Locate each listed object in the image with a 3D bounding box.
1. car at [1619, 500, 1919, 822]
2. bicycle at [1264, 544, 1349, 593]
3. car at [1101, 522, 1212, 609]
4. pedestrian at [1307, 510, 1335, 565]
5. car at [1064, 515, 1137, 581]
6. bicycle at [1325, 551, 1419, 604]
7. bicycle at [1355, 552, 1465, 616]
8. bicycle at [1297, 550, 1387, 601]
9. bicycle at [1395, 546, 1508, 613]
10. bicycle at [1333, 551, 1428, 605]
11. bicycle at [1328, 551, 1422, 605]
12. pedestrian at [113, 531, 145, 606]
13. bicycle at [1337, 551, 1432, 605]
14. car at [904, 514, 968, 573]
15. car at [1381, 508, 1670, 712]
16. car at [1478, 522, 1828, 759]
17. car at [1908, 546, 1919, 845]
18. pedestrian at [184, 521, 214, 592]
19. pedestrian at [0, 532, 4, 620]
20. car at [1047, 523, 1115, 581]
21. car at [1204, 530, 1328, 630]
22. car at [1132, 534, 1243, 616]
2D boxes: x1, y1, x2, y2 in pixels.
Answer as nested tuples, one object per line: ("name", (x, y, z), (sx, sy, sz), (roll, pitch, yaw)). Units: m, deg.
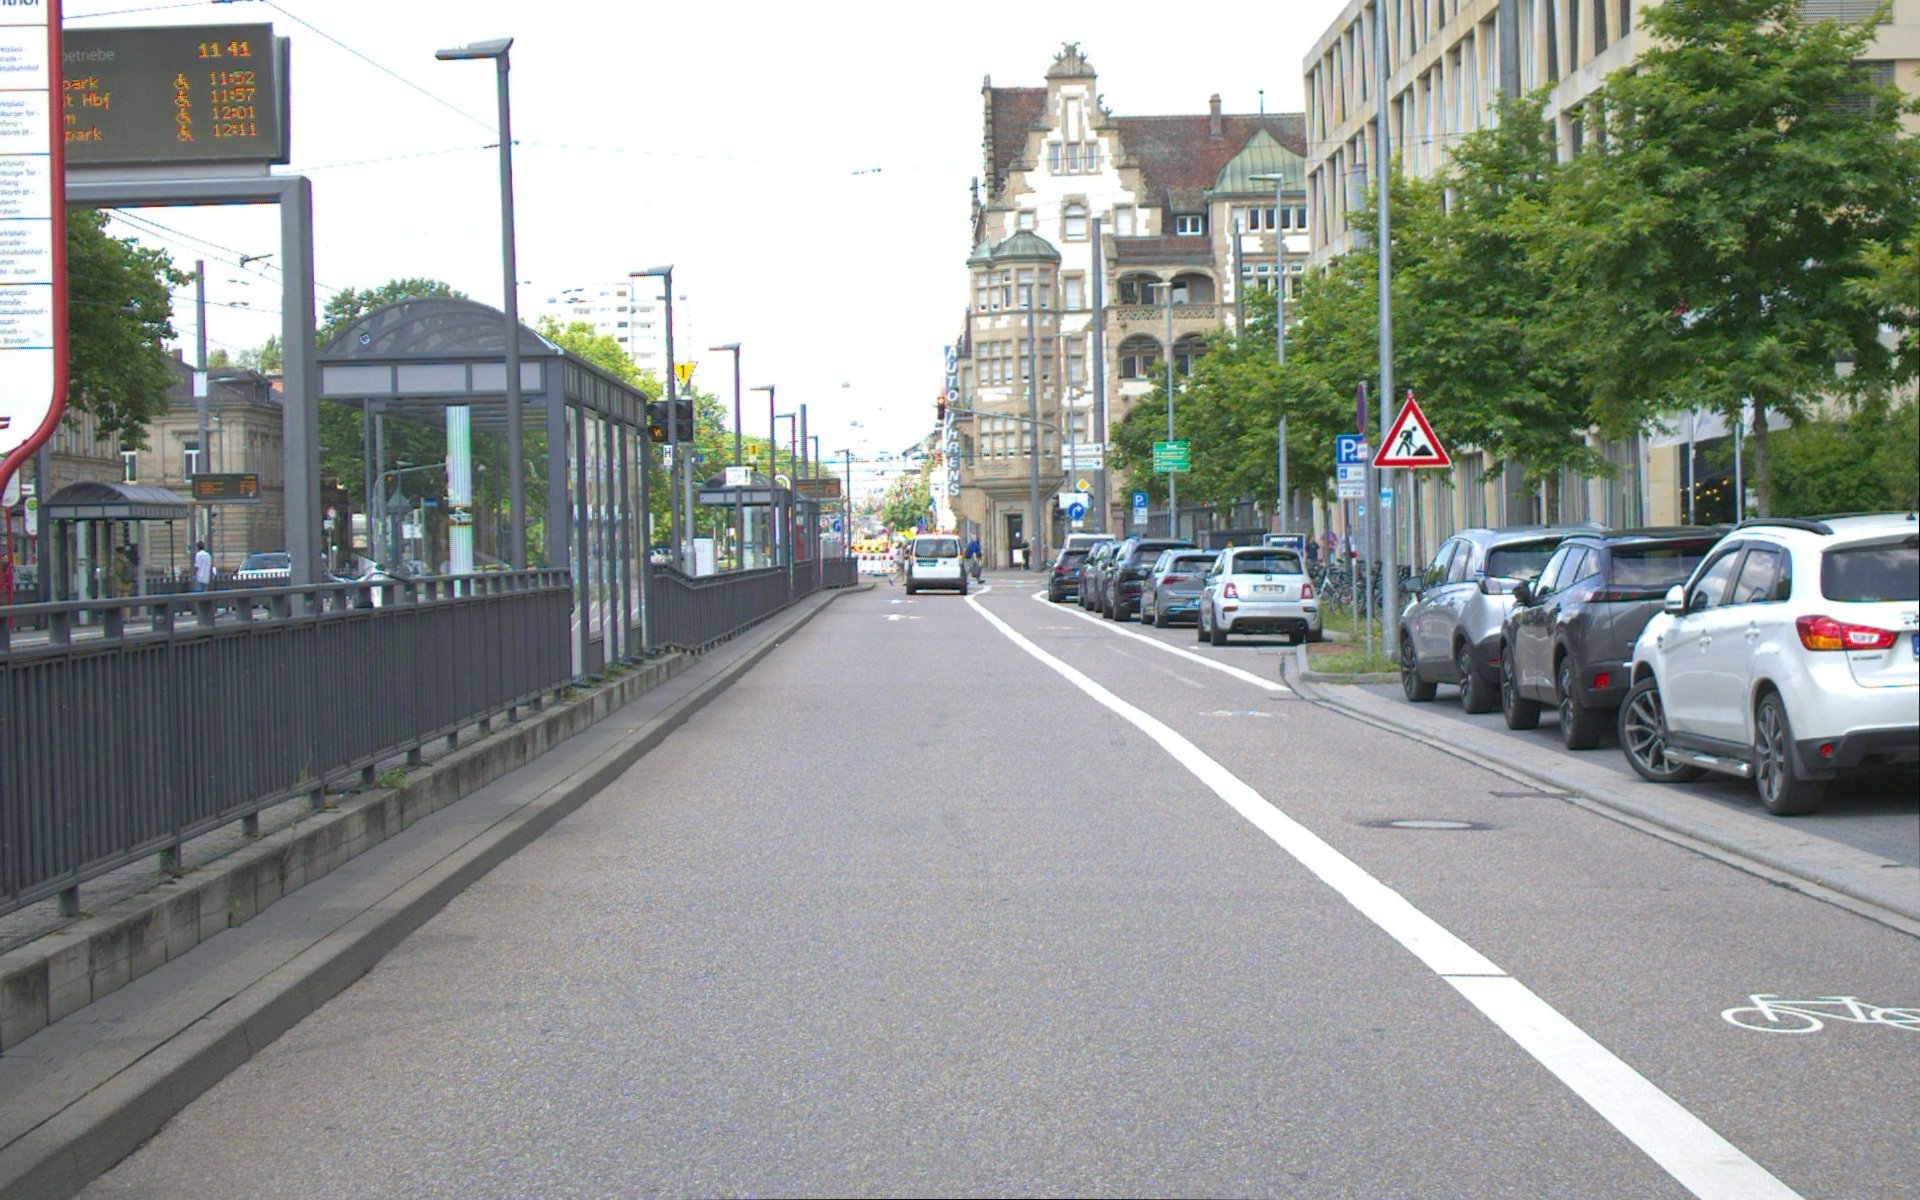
("car", (5.067, 0.256, 19.670), (1.685, 1.600, 4.152), (-2, 1, -1))
("bicycle", (7.852, -0.713, 77.853), (1.839, 1.027, 0.340), (-3, 1, -2))
("car", (3.919, -0.733, 69.269), (1.738, 1.664, 4.841), (1, 1, -3))
("pedestrian", (11.100, -1.921, 105.682), (0.760, 1.664, 0.659), (-1, 1, -1))
("car", (3.882, -1.452, 95.497), (1.709, 1.790, 3.362), (1, 1, -3))
("bicycle", (7.979, -0.434, 66.529), (1.752, 0.983, 0.326), (-2, 1, -1))
("bicycle", (7.792, -0.284, 59.597), (1.824, 1.072, 0.686), (-1, 1, 3))
("bicycle", (8.005, -0.522, 72.134), (1.824, 1.027, 0.584), (-1, 1, 3))
("bicycle", (8.182, -0.340, 57.266), (1.824, 1.072, 0.275), (-1, 1, 3))
("bicycle", (8.045, -0.421, 65.822), (1.752, 0.983, 0.326), (-2, 1, -1))
("bicycle", (7.988, -0.426, 66.181), (1.752, 0.983, 0.326), (-2, 1, -1))
("pedestrian", (-17.397, -0.654, 71.977), (0.500, 1.553, 0.643), (-1, 1, 0))
("bicycle", (8.087, -0.416, 65.480), (1.752, 0.983, 0.326), (-2, 1, -1))
("car", (-0.743, -1.705, 103.959), (1.868, 1.740, 4.000), (0, 1, -1))
("car", (5.024, 0.047, 31.043), (1.685, 1.628, 3.991), (-3, 1, -3))
("car", (5.021, 0.234, 25.392), (1.685, 1.543, 3.927), (-2, 1, -1))
("car", (5.511, 0.471, 14.773), (1.685, 1.452, 3.951), (-2, 1, -1))
("pedestrian", (-18.340, -1.046, 82.871), (0.500, 1.677, 0.643), (-2, 1, 0))
("pedestrian", (-16.782, -0.404, 58.721), (0.701, 1.507, 0.803), (-2, 1, -8))
("car", (3.177, -1.285, 90.610), (1.443, 1.465, 4.093), (1, 1, -3))
("car", (4.642, -0.336, 52.516), (1.591, 1.455, 3.613), (0, 1, 0))
("car", (4.183, -0.494, 63.753), (1.591, 1.429, 4.108), (1, 1, -3))
